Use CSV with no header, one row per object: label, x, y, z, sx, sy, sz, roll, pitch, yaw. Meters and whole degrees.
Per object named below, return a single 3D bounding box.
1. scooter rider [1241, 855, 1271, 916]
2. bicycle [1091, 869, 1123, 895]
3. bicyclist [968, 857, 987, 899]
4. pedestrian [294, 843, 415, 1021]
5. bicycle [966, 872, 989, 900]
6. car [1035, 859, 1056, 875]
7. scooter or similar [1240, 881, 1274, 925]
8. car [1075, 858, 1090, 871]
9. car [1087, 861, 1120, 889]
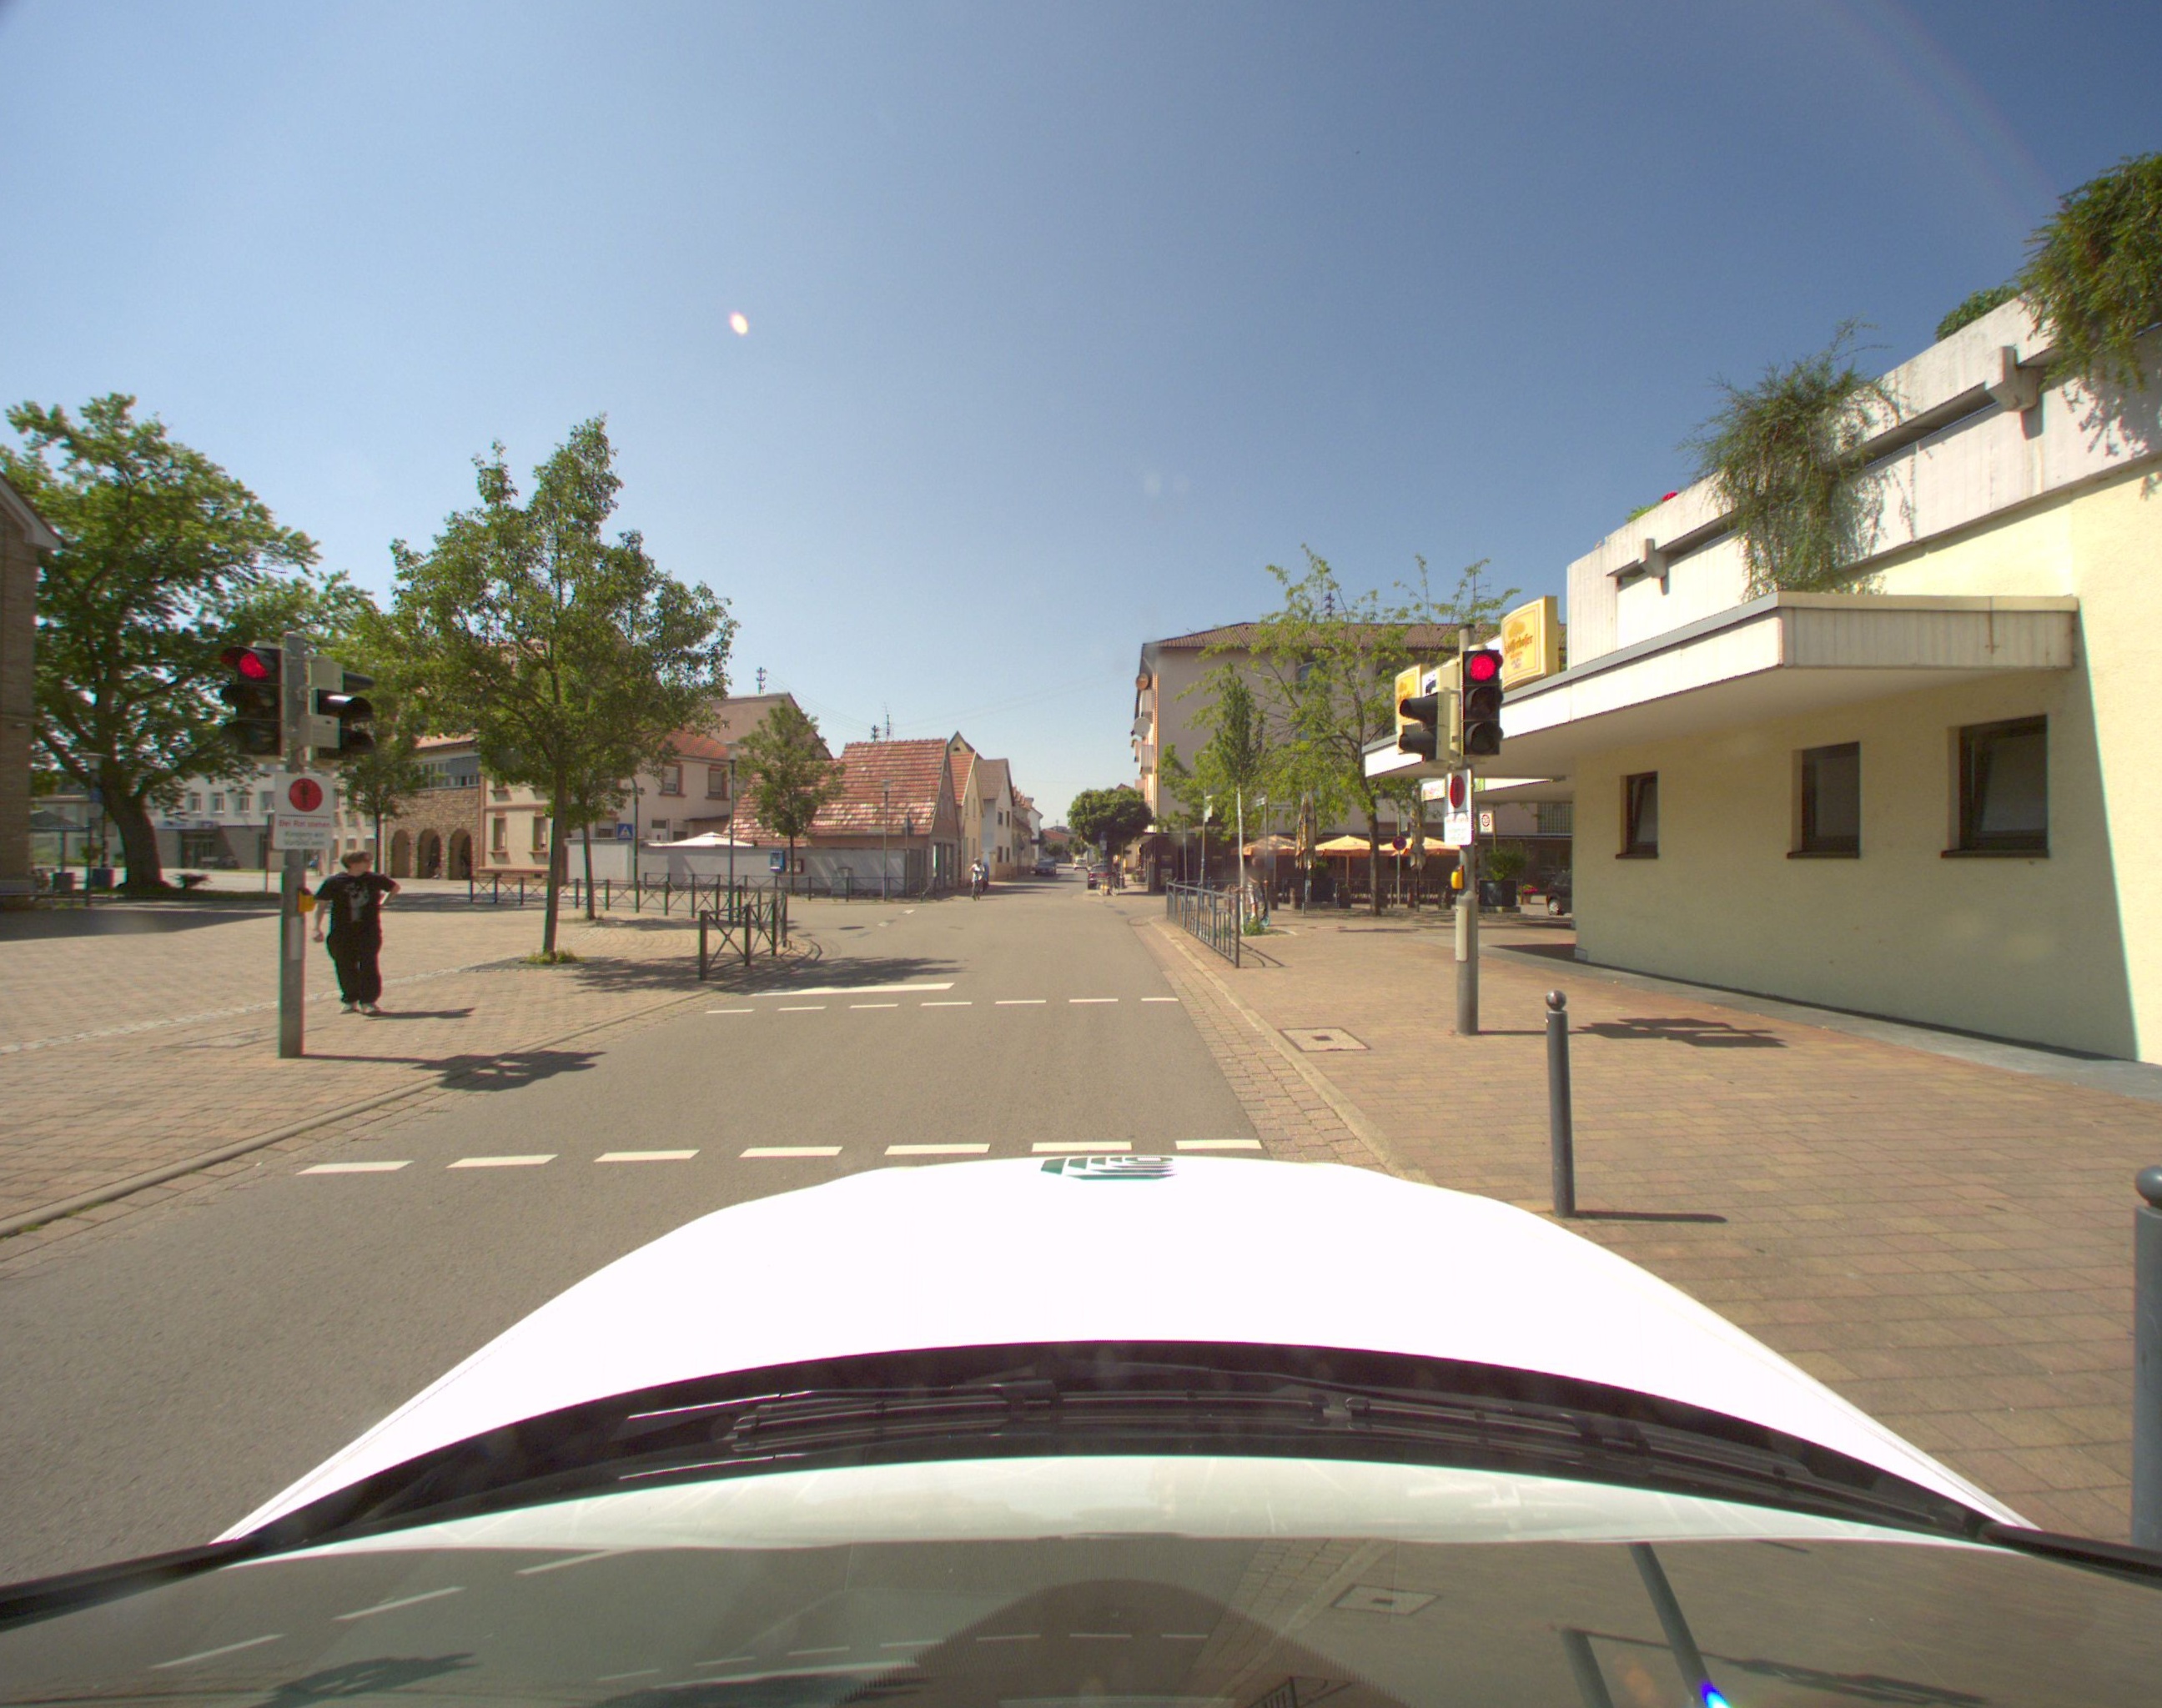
scooter rider,3.740,0.674,17.411,0.517,1.286,0.416,0,-1,-14
bicycle,1.222,1.302,38.750,0.530,1.193,1.655,1,-1,-42
bicyclist,-4.270,0.982,33.670,0.666,1.691,0.762,-1,-1,1
pedestrian,-7.238,0.738,8.165,0.818,1.655,0.841,2,-2,-40
bicycle,-4.267,1.290,33.664,0.671,1.094,1.896,-1,-1,2
car,-3.375,1.277,78.453,1.707,1.517,3.789,0,-1,3
scooter or similar,3.748,1.032,17.364,0.379,0.873,0.886,0,-1,-13
car,0.238,1.416,108.871,1.827,1.652,4.002,0,-1,2
car,1.352,1.204,47.509,1.797,1.501,4.003,0,0,3
